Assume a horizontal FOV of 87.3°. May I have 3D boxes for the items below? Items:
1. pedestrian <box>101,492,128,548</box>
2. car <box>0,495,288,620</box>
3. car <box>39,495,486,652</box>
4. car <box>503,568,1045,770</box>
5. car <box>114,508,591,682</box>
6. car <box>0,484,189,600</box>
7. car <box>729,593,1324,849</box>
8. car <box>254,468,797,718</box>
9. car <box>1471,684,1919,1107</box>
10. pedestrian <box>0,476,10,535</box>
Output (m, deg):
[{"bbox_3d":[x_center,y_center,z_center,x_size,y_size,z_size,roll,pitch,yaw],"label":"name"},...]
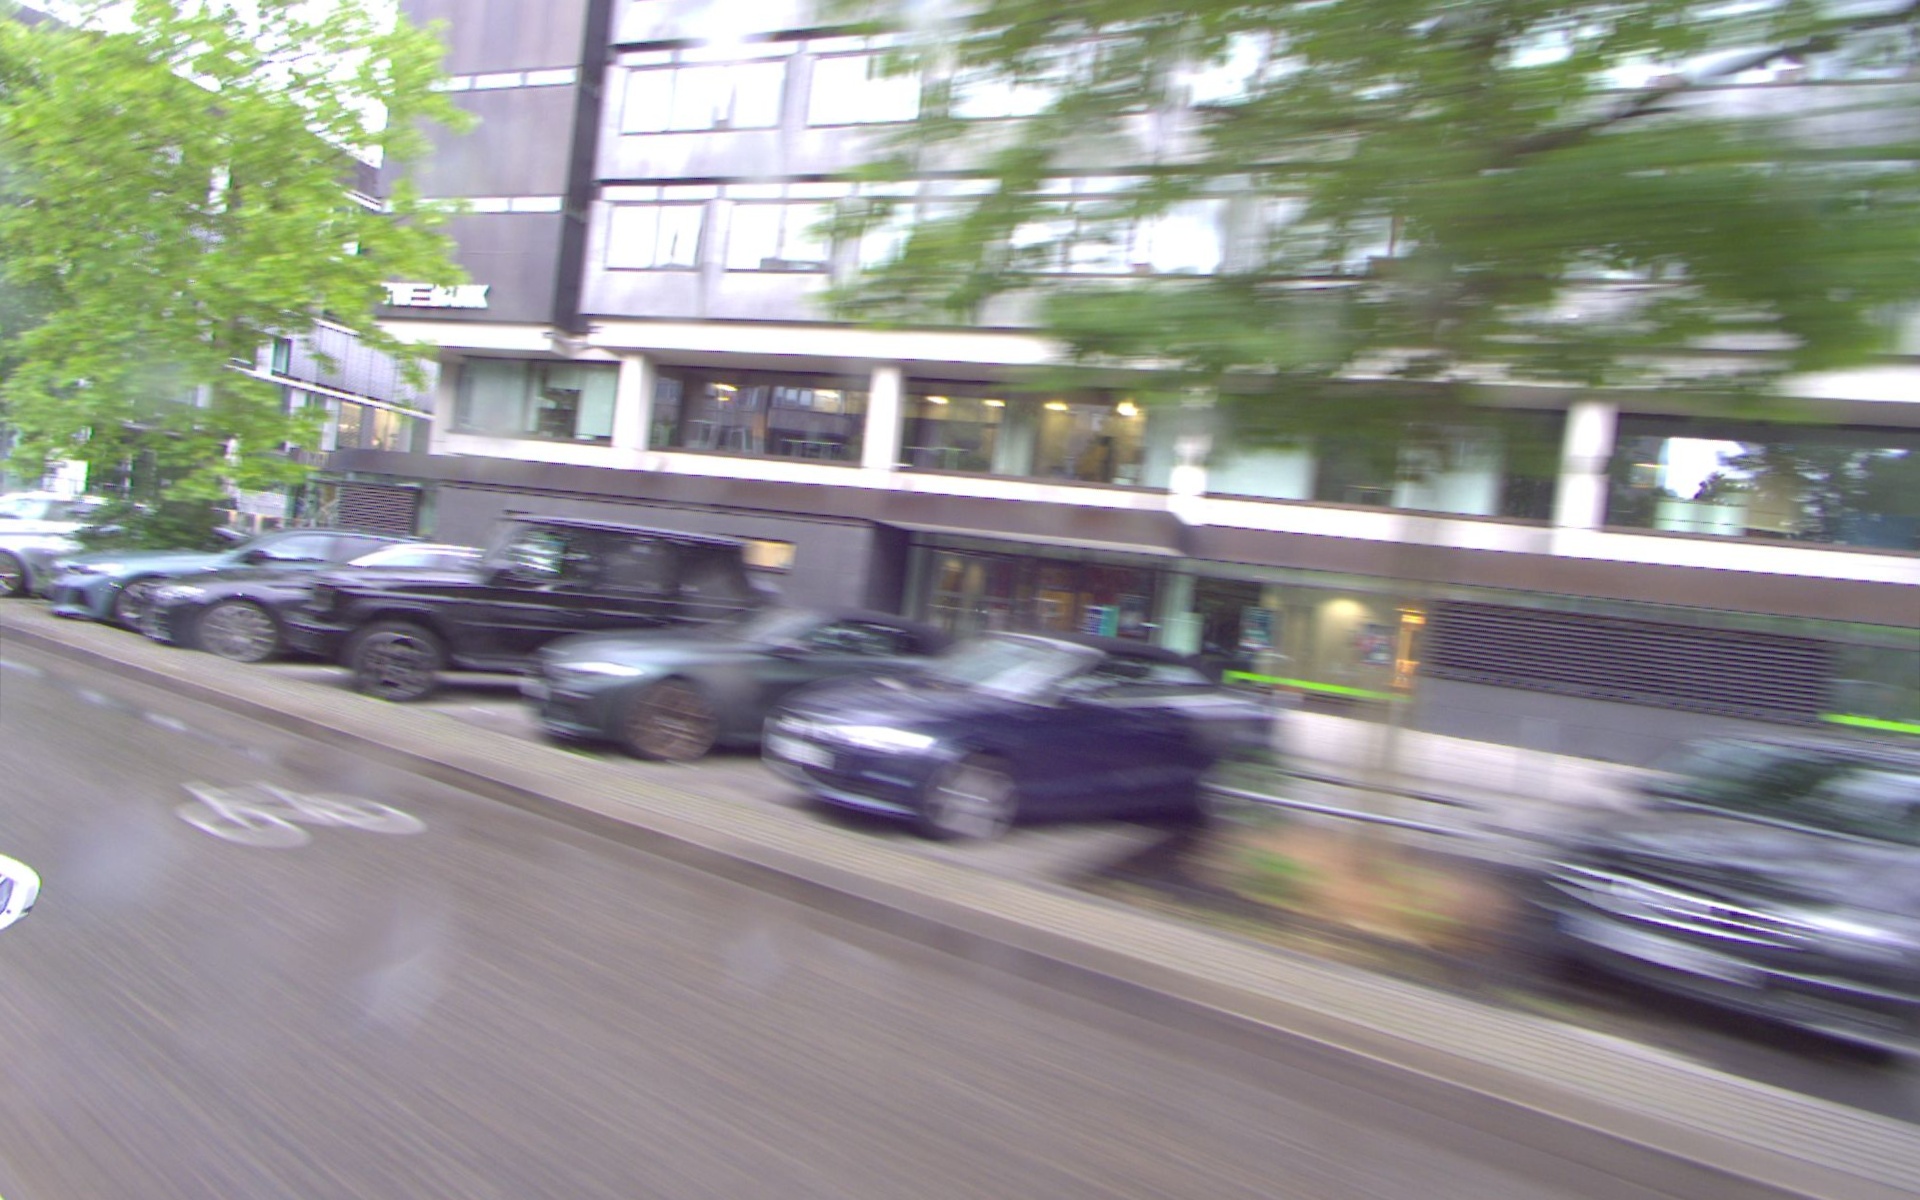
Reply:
[{"bbox_3d":[-28.737,-2.712,34.173,0.637,1.807,0.761,2,3,-42],"label":"pedestrian"},{"bbox_3d":[-13.477,-0.695,16.113,4.258,1.507,1.829,7,0,-29],"label":"car"},{"bbox_3d":[-9.366,-0.286,13.812,4.759,1.553,1.846,7,0,-44],"label":"car"},{"bbox_3d":[-1.658,0.682,9.453,4.586,1.411,1.834,7,-1,-30],"label":"car"},{"bbox_3d":[-7.079,-0.006,12.164,4.524,1.525,1.852,7,0,-34],"label":"car"},{"bbox_3d":[-16.264,-1.102,17.528,4.185,1.690,1.824,7,0,-31],"label":"car"},{"bbox_3d":[0.639,0.958,7.842,4.335,1.453,1.747,8,-1,-32],"label":"car"},{"bbox_3d":[-4.497,0.041,10.891,4.902,2.003,1.913,7,0,-32],"label":"car"},{"bbox_3d":[4.987,1.444,5.733,4.170,1.453,1.706,8,-1,-32],"label":"car"},{"bbox_3d":[-35.900,-3.563,37.171,1.061,2.140,0.934,6,-1,44],"label":"pedestrian"}]
